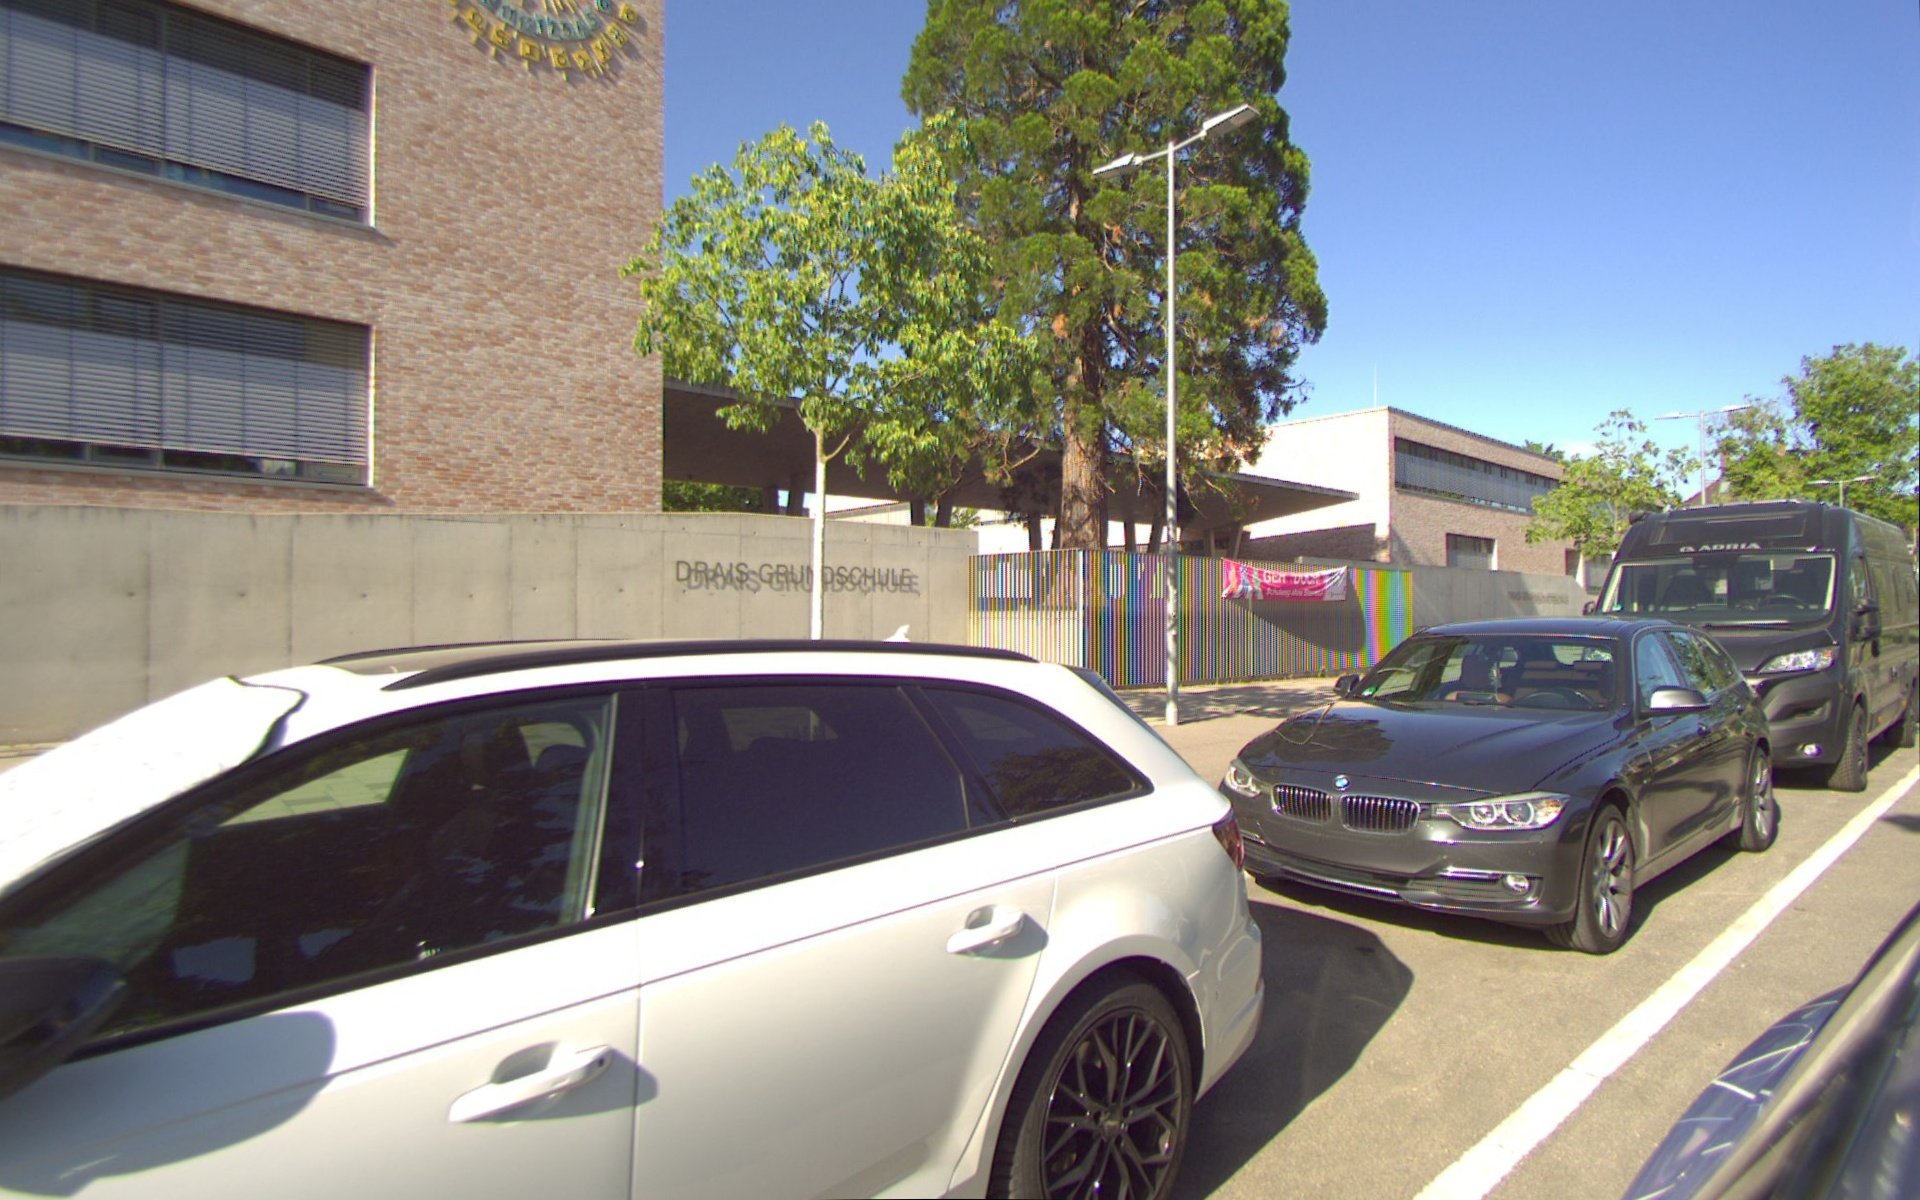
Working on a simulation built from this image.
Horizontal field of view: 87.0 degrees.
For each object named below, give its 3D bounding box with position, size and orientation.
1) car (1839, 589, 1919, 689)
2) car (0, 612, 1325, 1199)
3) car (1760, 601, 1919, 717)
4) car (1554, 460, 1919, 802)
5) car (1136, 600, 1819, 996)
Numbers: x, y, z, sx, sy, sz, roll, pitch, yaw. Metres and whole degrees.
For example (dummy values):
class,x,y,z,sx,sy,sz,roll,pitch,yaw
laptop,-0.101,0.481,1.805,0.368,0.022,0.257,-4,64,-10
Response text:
class,x,y,z,sx,sy,sz,roll,pitch,yaw
car,17.596,0.646,18.420,4.426,1.661,1.848,0,-1,-42
car,-1.285,0.771,1.986,4.577,1.438,1.797,0,0,-42
car,13.242,0.754,14.782,3.881,1.473,1.797,0,0,-42
car,8.440,0.228,10.496,6.420,2.548,2.118,0,-1,-42
car,3.288,0.733,5.969,4.554,1.438,1.997,0,0,-40
